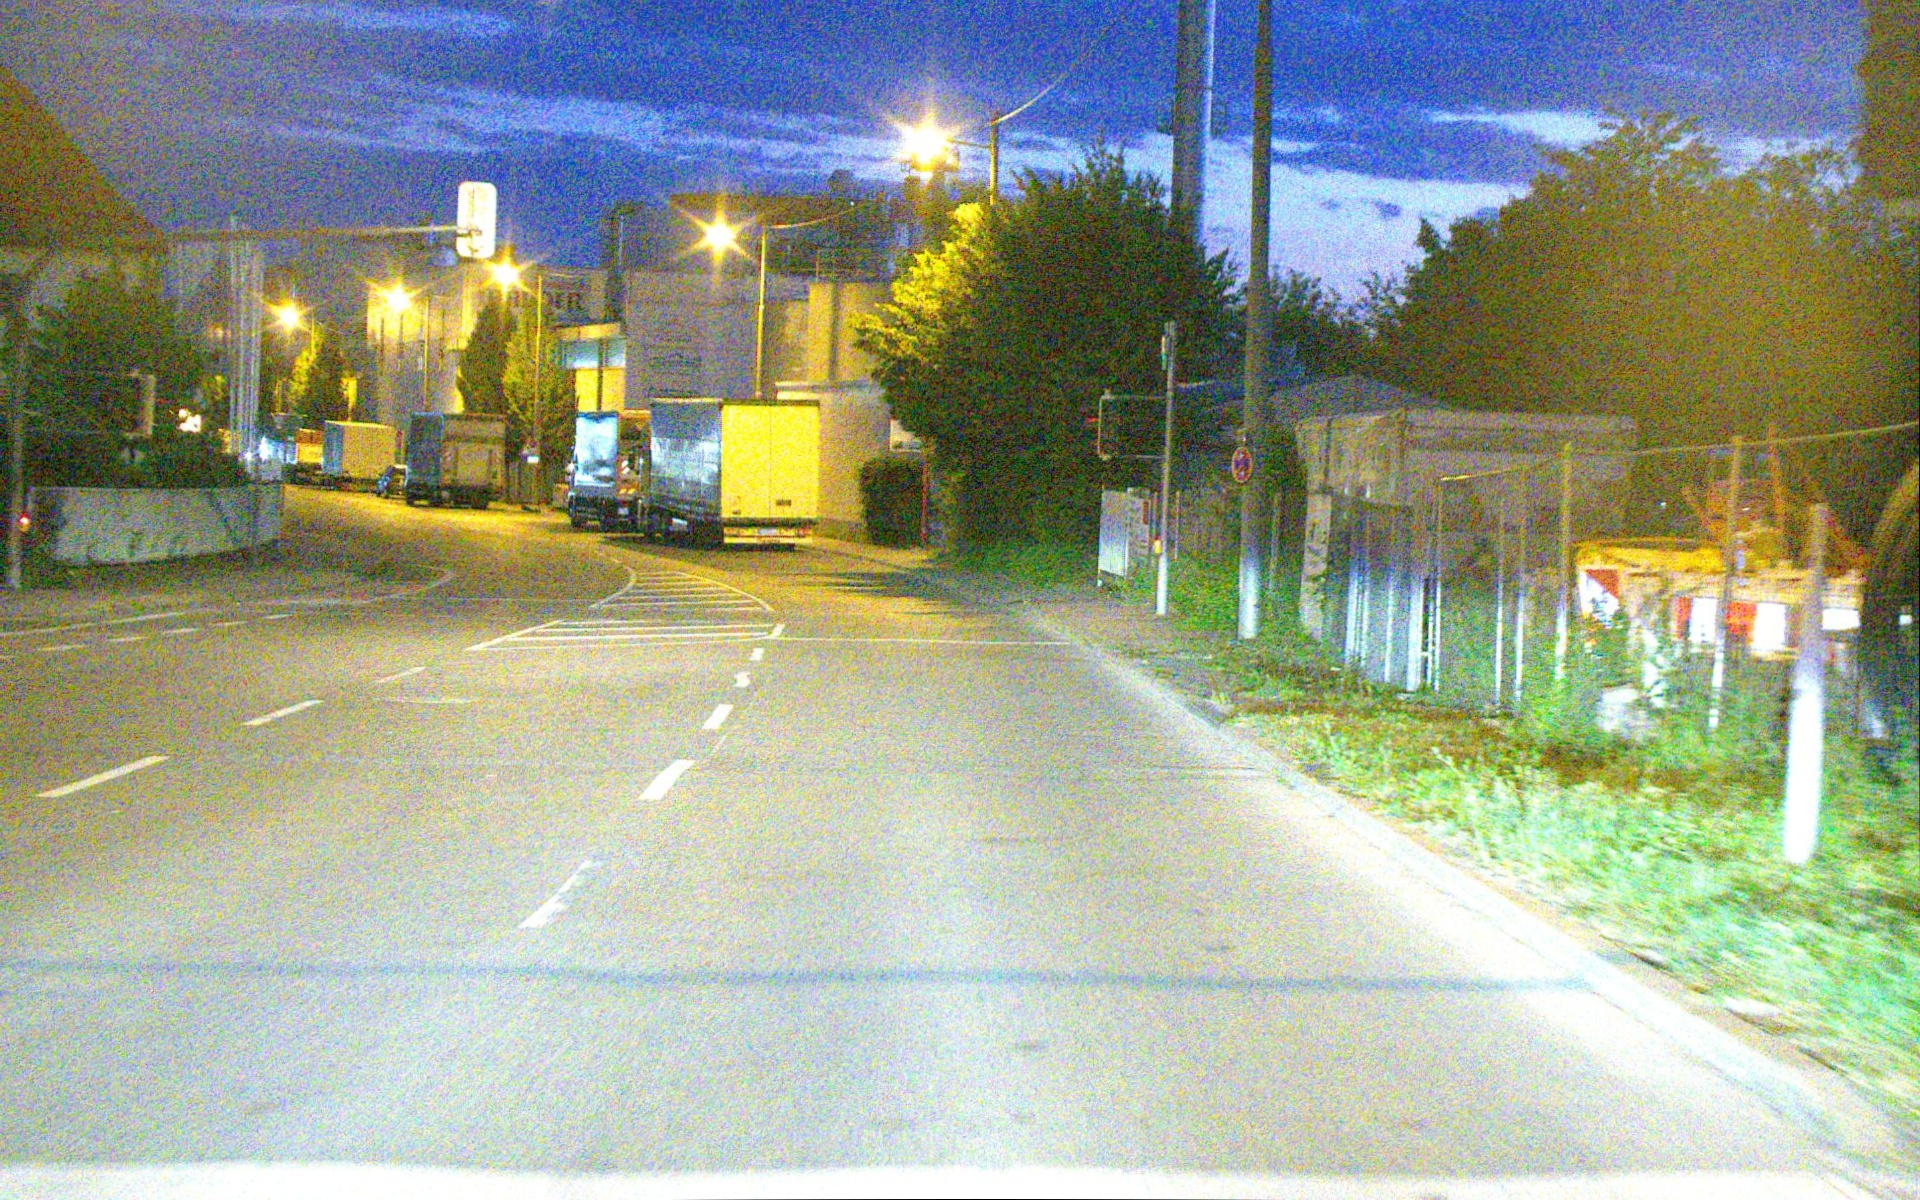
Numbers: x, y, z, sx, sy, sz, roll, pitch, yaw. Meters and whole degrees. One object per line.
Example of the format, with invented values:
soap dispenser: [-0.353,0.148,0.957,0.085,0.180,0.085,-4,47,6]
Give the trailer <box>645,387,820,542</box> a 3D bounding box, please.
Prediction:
trailer: [-6.481,-3.762,95.427,2.808,3.969,13.980,0,2,-12]

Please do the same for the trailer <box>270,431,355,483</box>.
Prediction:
trailer: [-35.252,-7.766,186.903,3.183,2.739,10.719,0,2,-18]

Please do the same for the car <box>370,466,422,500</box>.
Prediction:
car: [-26.116,-5.404,159.074,1.852,1.513,3.820,0,2,-17]

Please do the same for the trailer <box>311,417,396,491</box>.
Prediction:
trailer: [-30.274,-7.281,171.344,2.686,3.452,7.812,2,2,-20]

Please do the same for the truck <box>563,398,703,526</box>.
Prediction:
truck: [-10.760,-4.505,112.223,2.829,3.969,10.346,0,2,-15]

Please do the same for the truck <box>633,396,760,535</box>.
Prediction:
truck: [-7.865,-3.976,101.871,2.829,3.969,6.052,0,2,-13]

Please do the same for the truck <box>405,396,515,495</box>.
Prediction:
truck: [-21.098,-6.471,144.501,3.519,3.969,10.346,0,2,-14]

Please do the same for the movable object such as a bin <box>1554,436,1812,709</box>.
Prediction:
movable object such as a bin: [6.624,-0.269,31.603,1.679,2.375,1.617,2,2,-13]
